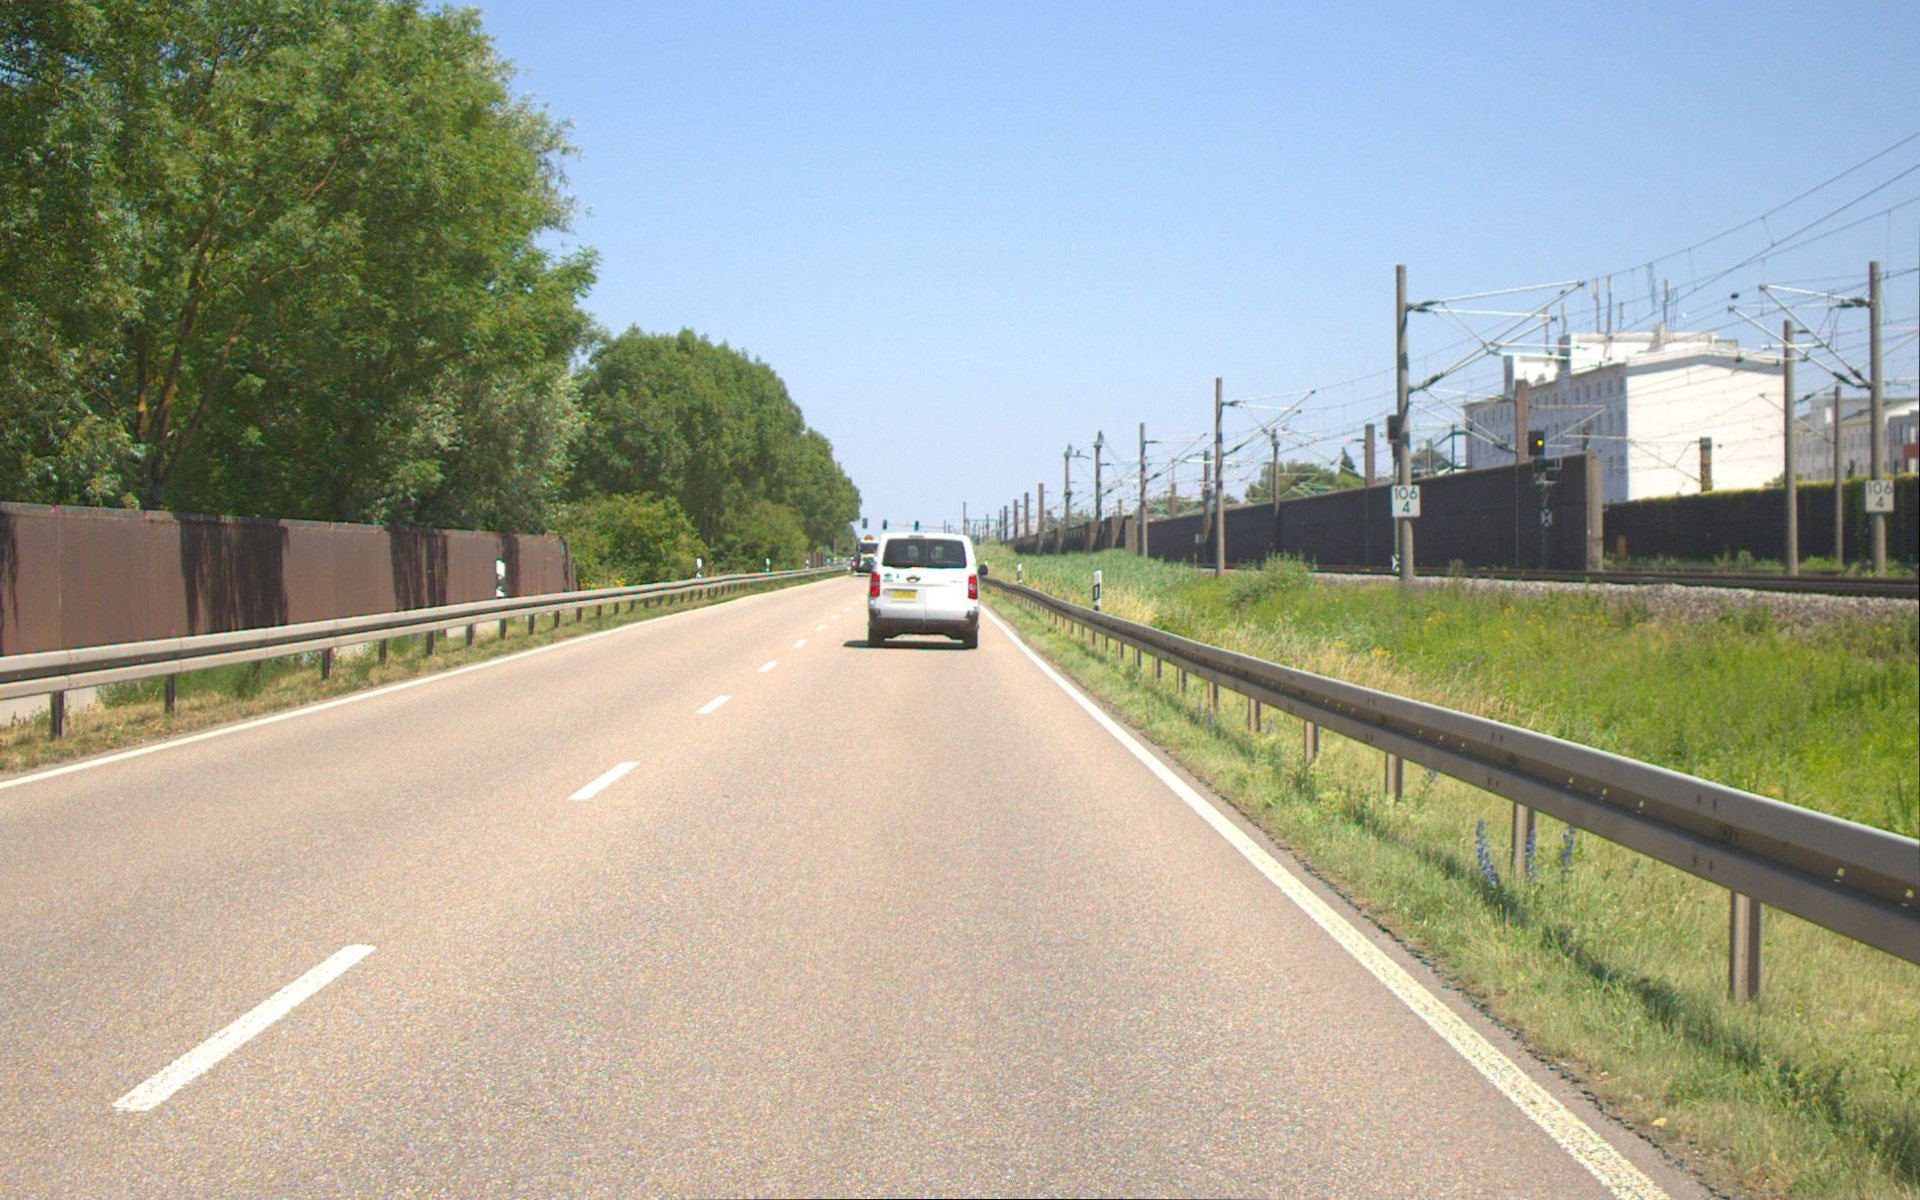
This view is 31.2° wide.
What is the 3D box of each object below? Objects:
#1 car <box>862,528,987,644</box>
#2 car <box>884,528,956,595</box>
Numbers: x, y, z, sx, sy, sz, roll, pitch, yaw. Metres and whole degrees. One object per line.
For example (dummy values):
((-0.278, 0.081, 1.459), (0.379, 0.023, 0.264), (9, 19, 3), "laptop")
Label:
((-0.602, -0.262, 58.426), (1.993, 1.843, 4.000), (2, 1, -1), "car")
((-1.160, -1.118, 100.335), (1.993, 1.843, 4.000), (2, 1, -1), "car")
